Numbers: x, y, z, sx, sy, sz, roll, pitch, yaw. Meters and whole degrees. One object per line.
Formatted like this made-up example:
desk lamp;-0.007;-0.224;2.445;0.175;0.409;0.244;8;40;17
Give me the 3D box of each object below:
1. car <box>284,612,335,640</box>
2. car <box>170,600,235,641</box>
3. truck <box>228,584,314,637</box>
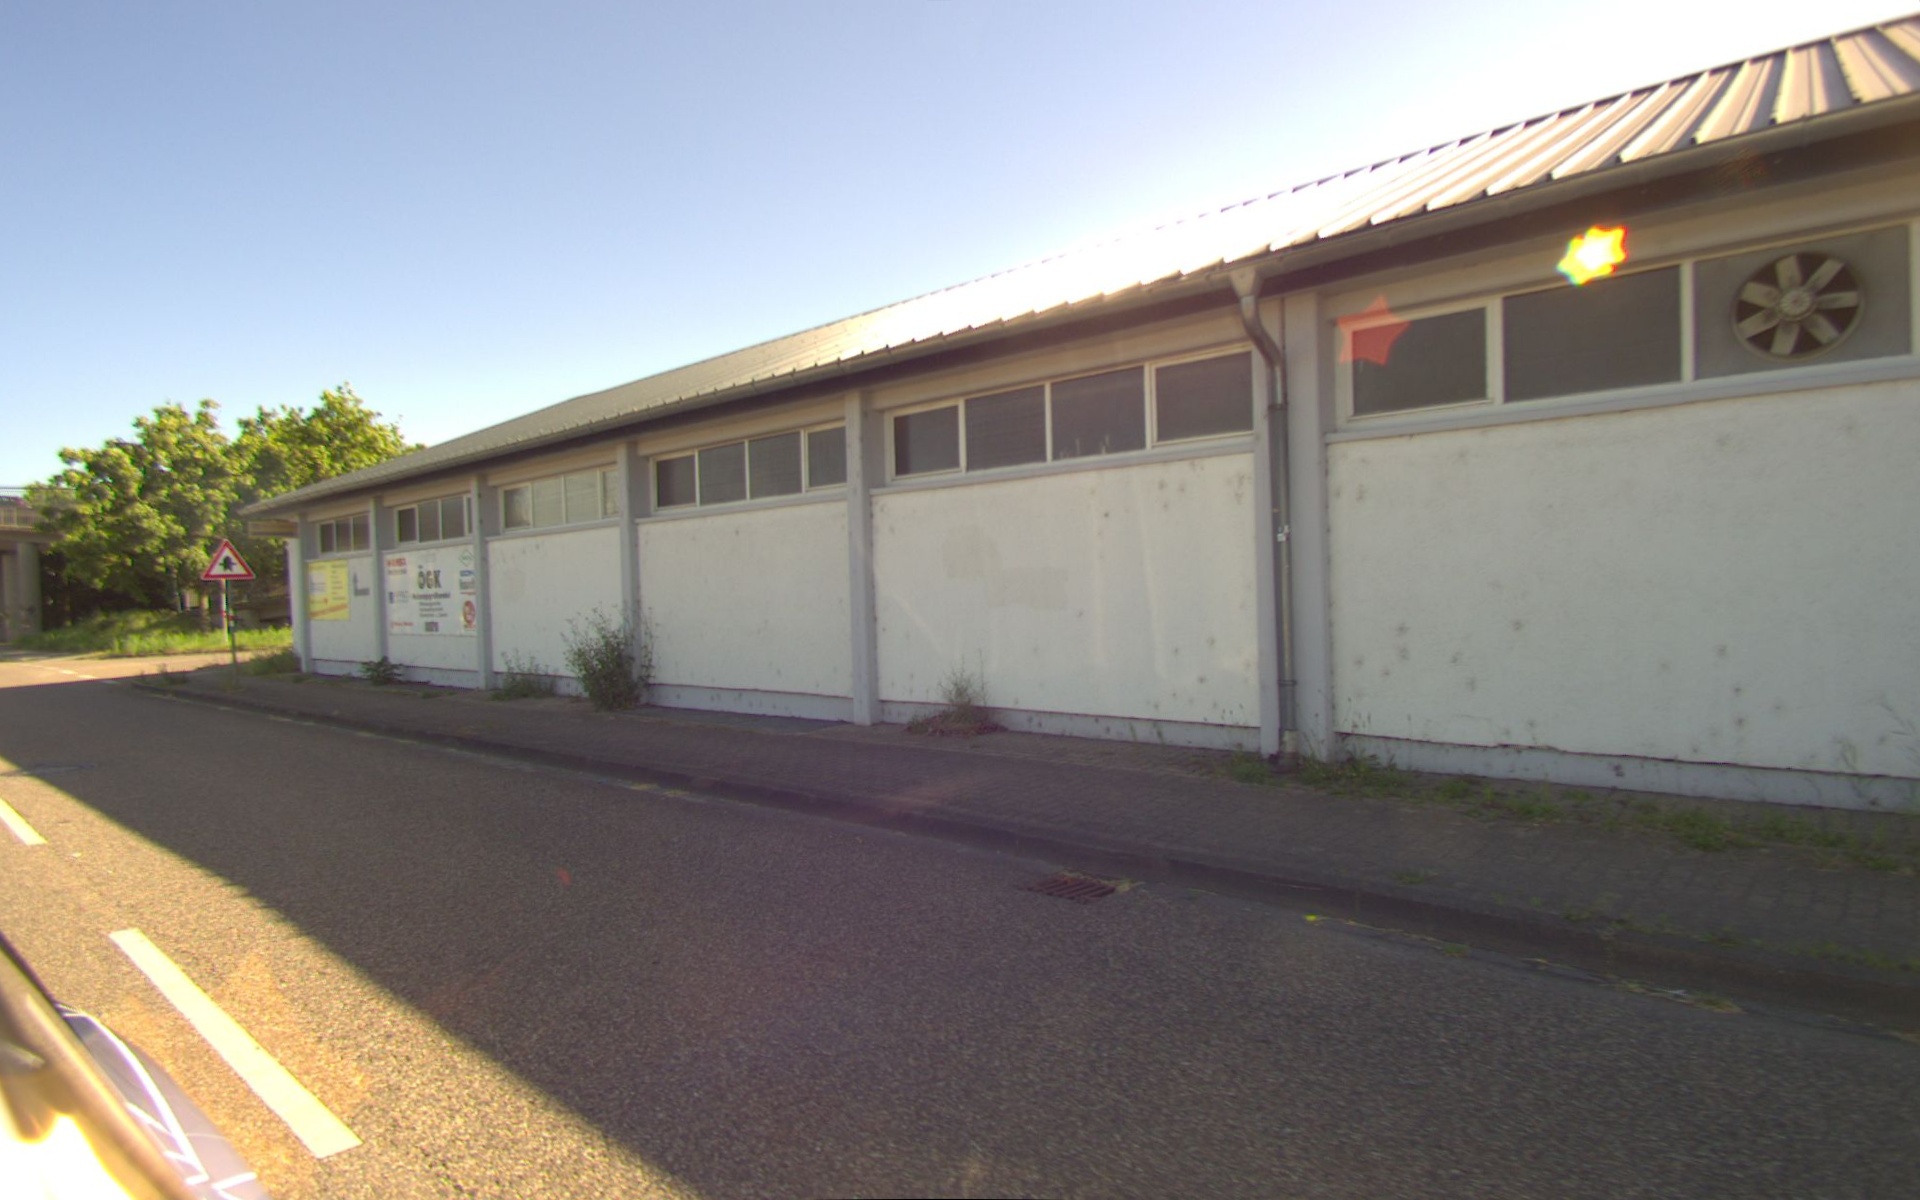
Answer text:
car;-39.747;1.532;61.910;1.654;1.564;4.312;-2;0;-19
car;-52.856;1.421;70.731;1.913;2.702;6.028;-2;-1;-20
truck;-50.264;0.745;74.095;2.441;3.578;7.989;-2;0;-14
